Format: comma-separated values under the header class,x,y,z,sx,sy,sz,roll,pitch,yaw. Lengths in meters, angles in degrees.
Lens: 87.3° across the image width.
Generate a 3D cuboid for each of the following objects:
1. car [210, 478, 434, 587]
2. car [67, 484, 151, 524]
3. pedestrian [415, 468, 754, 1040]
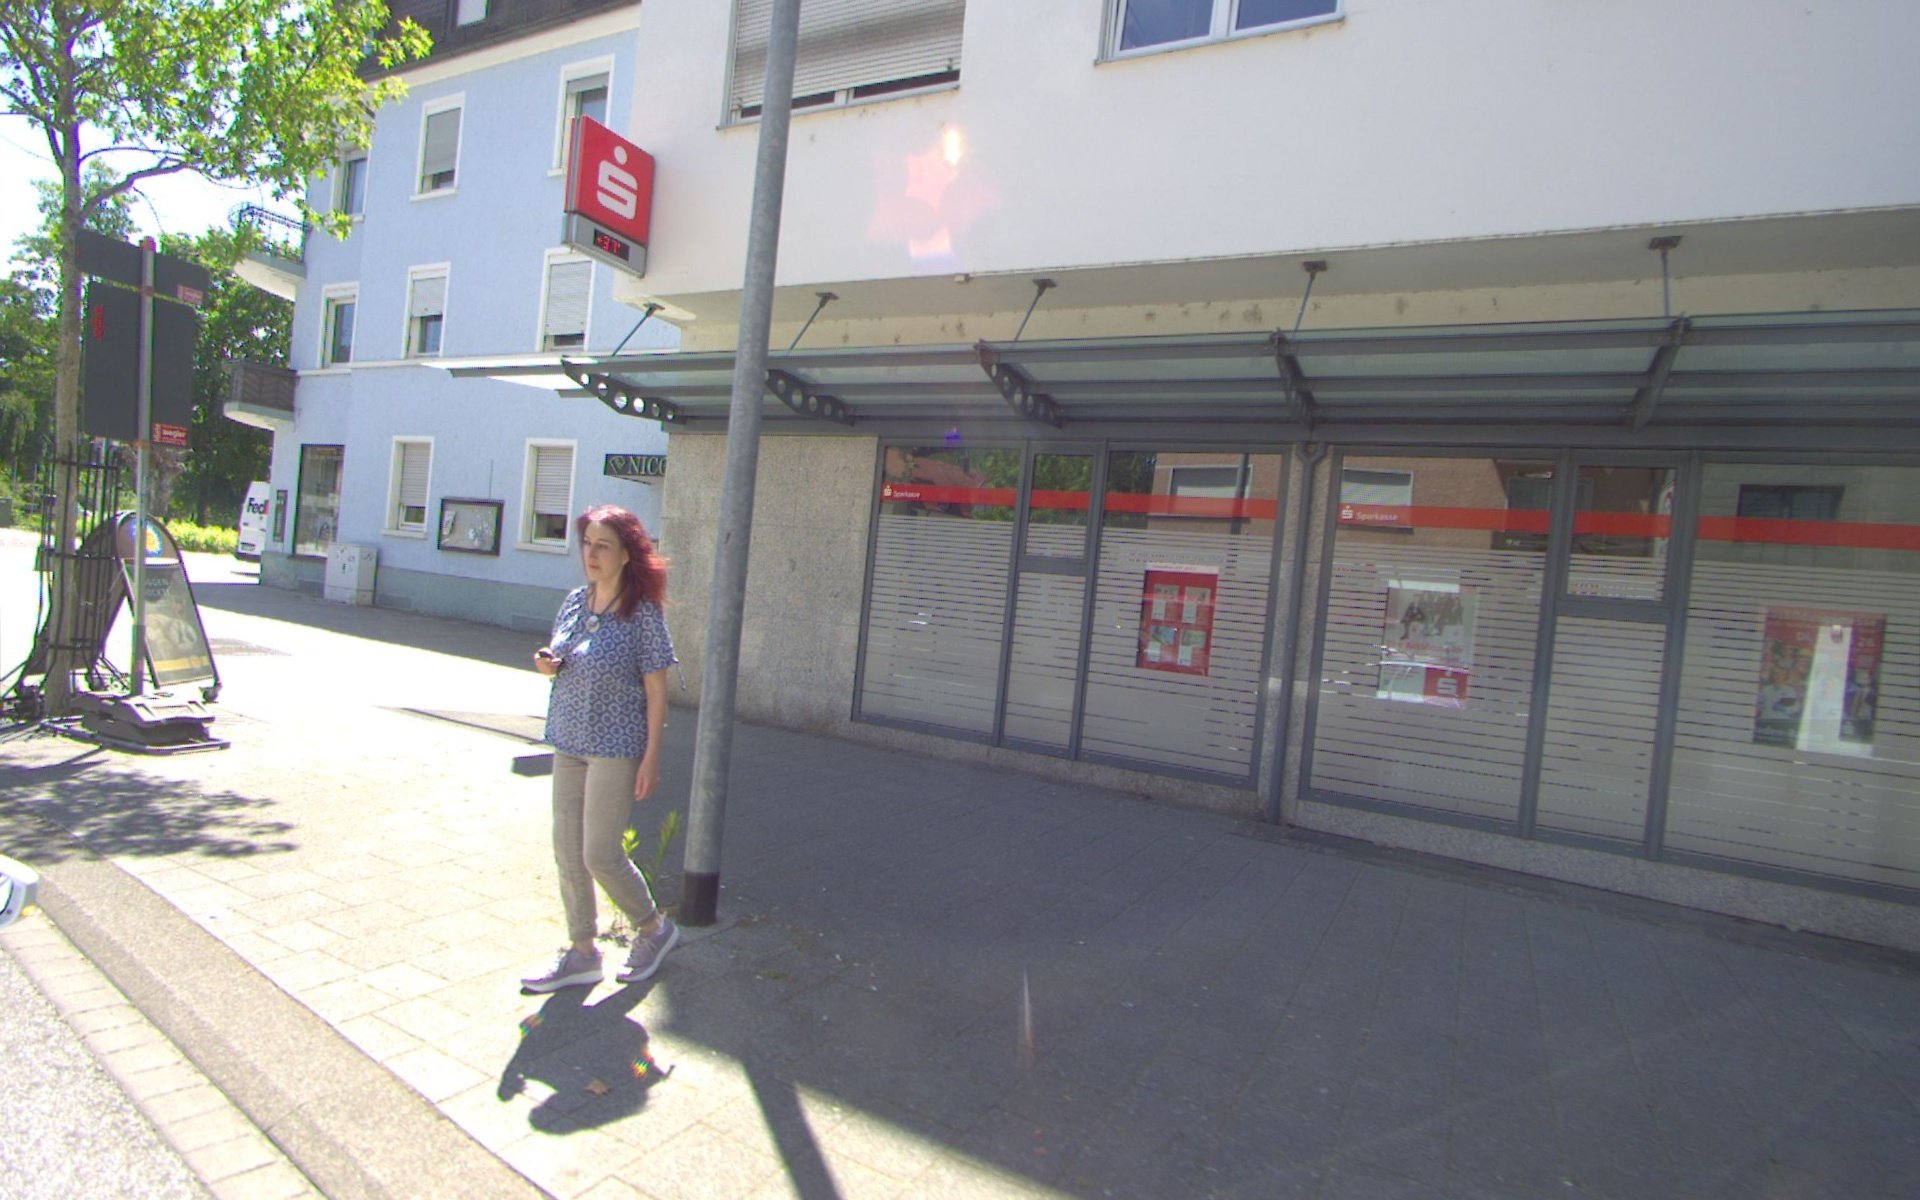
class,x,y,z,sx,sy,sz,roll,pitch,yaw
car,-18.578,-1.860,29.697,1.962,2.512,5.484,7,0,16
car,-56.786,-6.403,67.227,3.963,2.039,1.980,6,1,-36
pedestrian,-1.214,0.447,3.324,0.550,1.630,0.733,7,1,30
